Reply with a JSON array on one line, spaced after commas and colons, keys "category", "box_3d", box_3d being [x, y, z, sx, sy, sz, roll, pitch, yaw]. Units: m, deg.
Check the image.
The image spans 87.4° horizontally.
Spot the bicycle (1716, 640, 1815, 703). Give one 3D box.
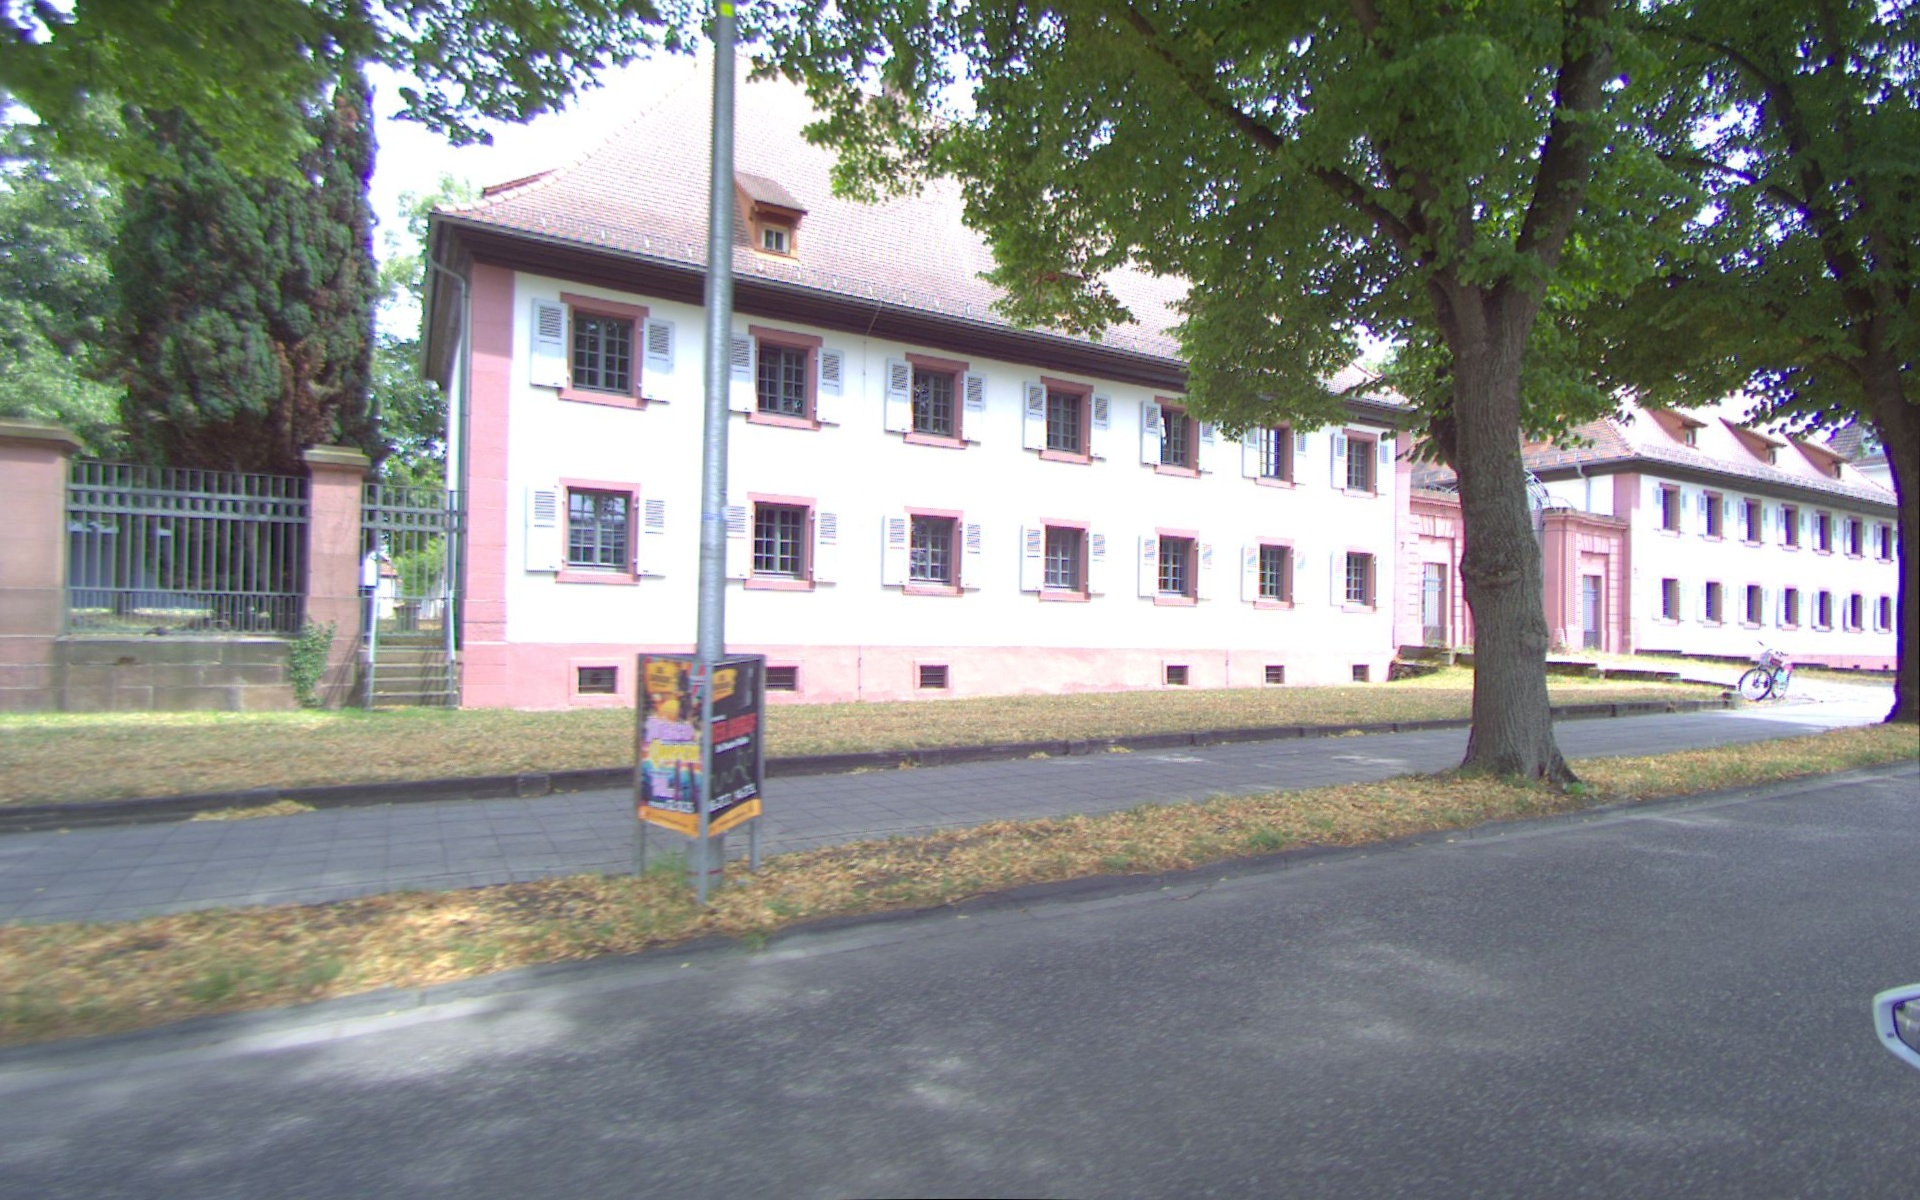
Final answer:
[{"category": "bicycle", "box_3d": [15.635, 1.355, 19.480, 2.199, 1.110, 0.719, 1, 3, -30]}]
